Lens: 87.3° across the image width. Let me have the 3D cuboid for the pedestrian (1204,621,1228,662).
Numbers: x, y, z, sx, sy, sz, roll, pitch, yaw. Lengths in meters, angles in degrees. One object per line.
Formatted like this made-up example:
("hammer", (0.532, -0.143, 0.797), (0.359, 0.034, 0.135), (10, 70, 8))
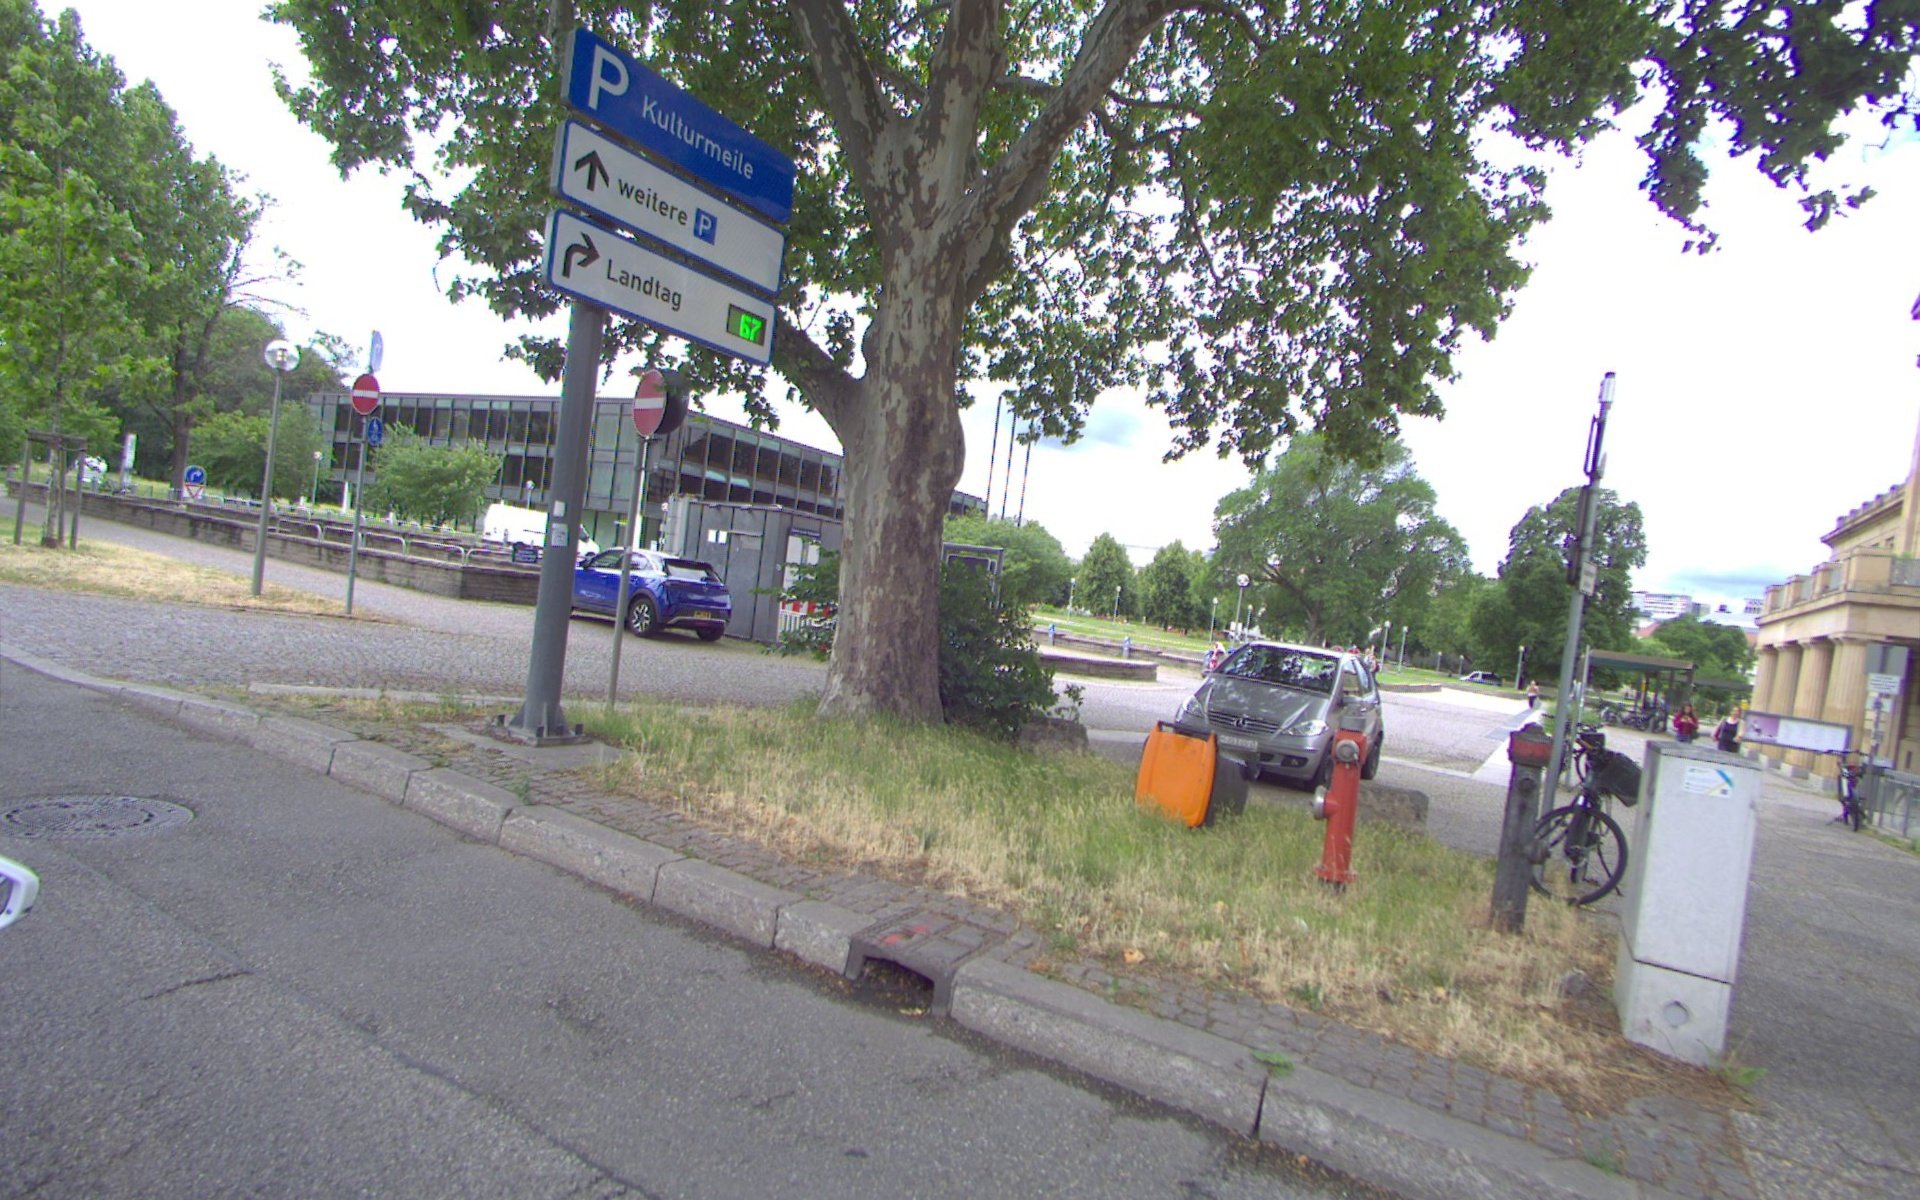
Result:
("pedestrian", (13.437, 2.181, 52.825), (0.799, 2.037, 0.624), (8, -1, -39))

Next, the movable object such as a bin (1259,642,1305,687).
("movable object such as a bin", (11.999, 2.404, 37.492), (1.134, 1.516, 1.409), (8, 1, 34))

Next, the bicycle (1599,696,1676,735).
("bicycle", (33.050, 5.616, 49.129), (2.848, 1.442, 0.961), (7, -1, 28))

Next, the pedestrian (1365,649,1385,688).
("pedestrian", (19.912, 3.285, 48.241), (0.537, 1.826, 0.500), (8, -1, 4))

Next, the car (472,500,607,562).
("car", (-22.057, -3.569, 53.104), (2.362, 2.288, 6.112), (8, 0, 33))

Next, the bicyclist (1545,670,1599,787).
("bicyclist", (9.660, 2.014, 15.894), (0.466, 1.770, 0.437), (8, 2, 24))

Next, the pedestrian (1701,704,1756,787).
("pedestrian", (17.405, 3.276, 22.793), (0.693, 1.744, 0.680), (8, 1, 30))

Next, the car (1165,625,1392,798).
("car", (4.072, 1.305, 12.441), (1.651, 1.587, 3.841), (8, 0, 31))

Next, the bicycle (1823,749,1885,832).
("bicycle", (13.914, 2.930, 15.697), (0.420, 1.113, 2.166), (8, -1, 37))

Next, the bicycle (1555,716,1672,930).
("bicycle", (4.640, 1.492, 7.141), (0.484, 1.236, 1.786), (8, 0, 34))

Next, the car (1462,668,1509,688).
("car", (66.521, 9.845, 127.367), (4.834, 1.758, 2.074), (7, -2, 35))

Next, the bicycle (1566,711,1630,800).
("bicycle", (9.854, 2.371, 15.579), (0.435, 1.146, 1.754), (8, 1, 24))

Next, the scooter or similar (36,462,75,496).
("scooter or similar", (-39.102, -5.230, 43.479), (2.190, 1.259, 0.636), (7, -1, 34))

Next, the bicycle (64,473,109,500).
("bicycle", (-42.977, -5.584, 49.489), (2.297, 1.076, 0.956), (7, -1, 31))

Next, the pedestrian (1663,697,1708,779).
("pedestrian", (16.268, 3.081, 22.570), (0.559, 1.716, 0.430), (8, 2, 30))

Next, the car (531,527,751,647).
("car", (-6.084, -0.267, 19.033), (3.961, 1.571, 1.761), (10, 2, 34))

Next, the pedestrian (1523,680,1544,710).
("pedestrian", (38.722, 6.406, 67.918), (0.929, 1.826, 0.546), (8, -1, 4))

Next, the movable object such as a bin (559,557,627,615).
("movable object such as a bin", (-7.962, -0.299, 21.863), (0.757, 1.078, 1.009), (11, 3, 29))

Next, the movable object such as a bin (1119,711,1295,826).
("movable object such as a bin", (1.850, 1.227, 7.438), (0.718, 0.659, 1.299), (6, -3, 40))

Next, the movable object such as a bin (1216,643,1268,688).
("movable object such as a bin", (9.435, 2.192, 33.631), (1.134, 1.320, 1.409), (8, 1, 34))
